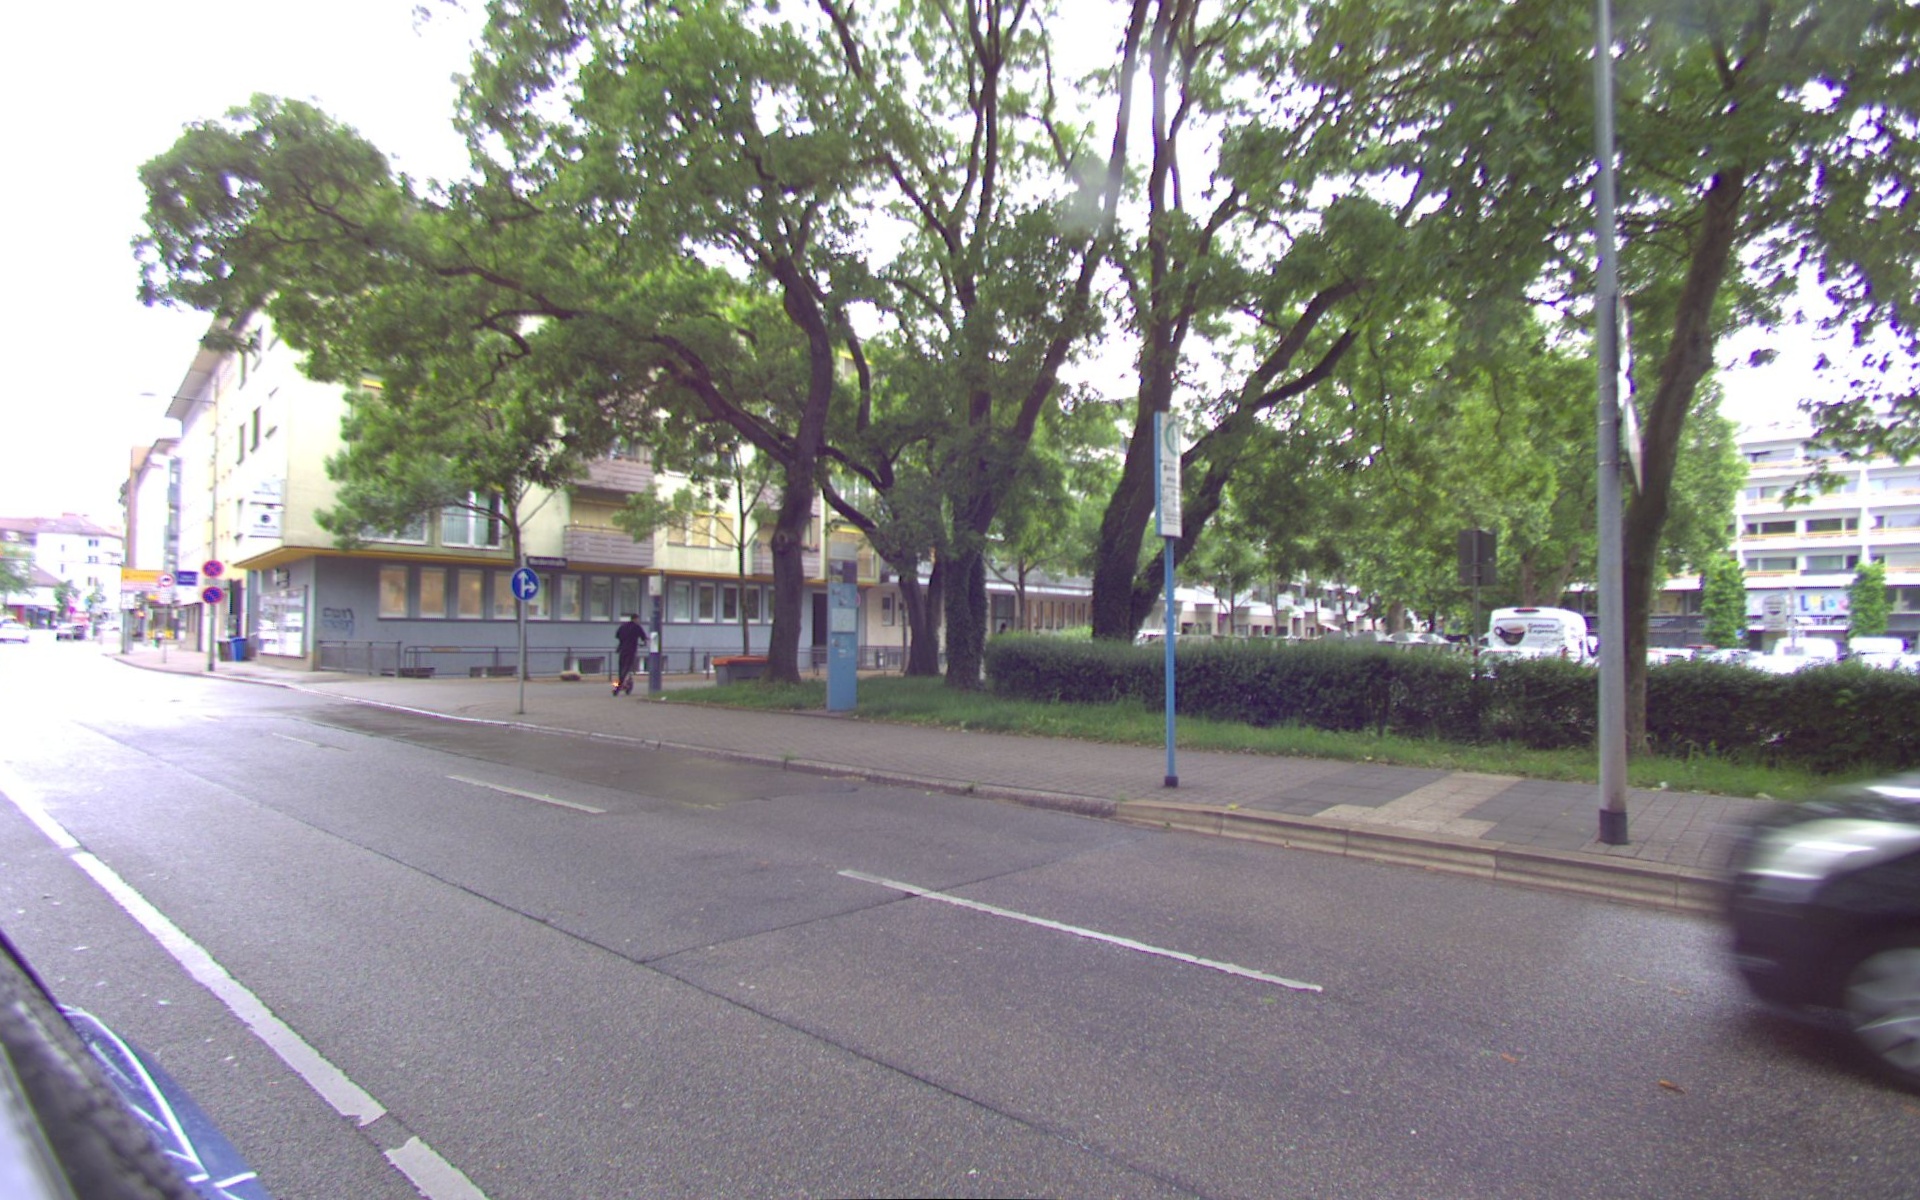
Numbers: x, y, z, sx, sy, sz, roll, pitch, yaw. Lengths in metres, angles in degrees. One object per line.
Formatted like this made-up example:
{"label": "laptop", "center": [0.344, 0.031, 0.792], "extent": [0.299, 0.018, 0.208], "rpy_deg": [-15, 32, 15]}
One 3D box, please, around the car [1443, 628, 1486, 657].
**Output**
{"label": "car", "center": [27.302, 2.288, 54.731], "extent": [1.428, 1.439, 2.926], "rpy_deg": [-2, -1, 40]}

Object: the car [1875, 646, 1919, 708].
{"label": "car", "center": [23.412, 1.870, 24.804], "extent": [1.391, 1.446, 3.227], "rpy_deg": [-2, -4, 41]}

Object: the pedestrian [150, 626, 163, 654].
{"label": "pedestrian", "center": [-53.623, 2.641, 67.567], "extent": [0.586, 1.858, 0.565], "rpy_deg": [3, -4, -42]}

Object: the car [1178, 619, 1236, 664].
{"label": "car", "center": [11.717, 1.961, 47.889], "extent": [1.988, 2.029, 3.967], "rpy_deg": [0, -3, 24]}

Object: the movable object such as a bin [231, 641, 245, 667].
{"label": "movable object such as a bin", "center": [-29.904, 2.236, 41.912], "extent": [0.409, 1.037, 0.354], "rpy_deg": [3, -4, -42]}

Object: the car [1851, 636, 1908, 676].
{"label": "car", "center": [40.380, 2.422, 44.503], "extent": [1.639, 1.536, 3.161], "rpy_deg": [-1, 0, 38]}

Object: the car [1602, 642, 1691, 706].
{"label": "car", "center": [16.728, 1.775, 24.617], "extent": [1.391, 1.446, 3.227], "rpy_deg": [-2, -4, 41]}

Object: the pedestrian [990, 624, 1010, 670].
{"label": "pedestrian", "center": [1.095, 1.283, 27.451], "extent": [0.480, 1.222, 0.437], "rpy_deg": [-1, 0, 9]}

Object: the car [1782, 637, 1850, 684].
{"label": "car", "center": [28.169, 1.963, 33.350], "extent": [1.604, 1.439, 3.275], "rpy_deg": [-1, -3, 40]}

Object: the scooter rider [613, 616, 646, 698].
{"label": "scooter rider", "center": [-7.628, 1.305, 23.358], "extent": [0.700, 1.831, 0.700], "rpy_deg": [-1, -3, -17]}

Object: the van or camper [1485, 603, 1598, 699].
{"label": "van or camper", "center": [16.842, 1.451, 29.208], "extent": [2.097, 2.556, 4.367], "rpy_deg": [-1, -3, 40]}

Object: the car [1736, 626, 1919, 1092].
{"label": "car", "center": [4.610, 0.855, 3.001], "extent": [3.565, 1.500, 1.551], "rpy_deg": [-1, -4, 41]}

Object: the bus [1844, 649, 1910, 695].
{"label": "bus", "center": [33.152, 2.573, 36.656], "extent": [1.604, 1.551, 3.385], "rpy_deg": [-1, -3, 40]}

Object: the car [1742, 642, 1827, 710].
{"label": "car", "center": [19.234, 1.739, 23.563], "extent": [1.391, 1.446, 3.227], "rpy_deg": [-2, -4, 41]}

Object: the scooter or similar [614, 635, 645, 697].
{"label": "scooter or similar", "center": [-7.621, 1.513, 23.346], "extent": [0.666, 1.392, 0.670], "rpy_deg": [-1, -2, -17]}

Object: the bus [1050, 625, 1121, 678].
{"label": "bus", "center": [4.833, 1.965, 38.685], "extent": [1.703, 1.939, 3.697], "rpy_deg": [0, -3, 24]}

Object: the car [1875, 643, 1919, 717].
{"label": "car", "center": [19.925, 1.634, 20.942], "extent": [1.391, 1.446, 3.227], "rpy_deg": [-2, -4, 41]}

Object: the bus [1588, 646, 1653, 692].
{"label": "bus", "center": [24.151, 2.491, 36.971], "extent": [1.604, 1.551, 3.385], "rpy_deg": [-1, -3, 40]}

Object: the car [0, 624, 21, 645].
{"label": "car", "center": [-77.591, 2.805, 82.142], "extent": [4.002, 1.670, 1.842], "rpy_deg": [-2, -4, 45]}

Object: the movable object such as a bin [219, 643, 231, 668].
{"label": "movable object such as a bin", "center": [-30.336, 2.281, 41.772], "extent": [0.333, 1.037, 0.354], "rpy_deg": [3, -4, -42]}

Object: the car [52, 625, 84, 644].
{"label": "car", "center": [-82.055, 3.199, 93.094], "extent": [4.002, 1.730, 1.863], "rpy_deg": [-2, -4, 45]}

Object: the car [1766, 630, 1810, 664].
{"label": "car", "center": [41.995, 2.368, 51.356], "extent": [1.639, 1.536, 3.161], "rpy_deg": [-1, 0, 38]}

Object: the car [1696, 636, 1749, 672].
{"label": "car", "center": [35.715, 2.483, 47.362], "extent": [1.837, 1.435, 3.780], "rpy_deg": [-1, 0, 39]}
